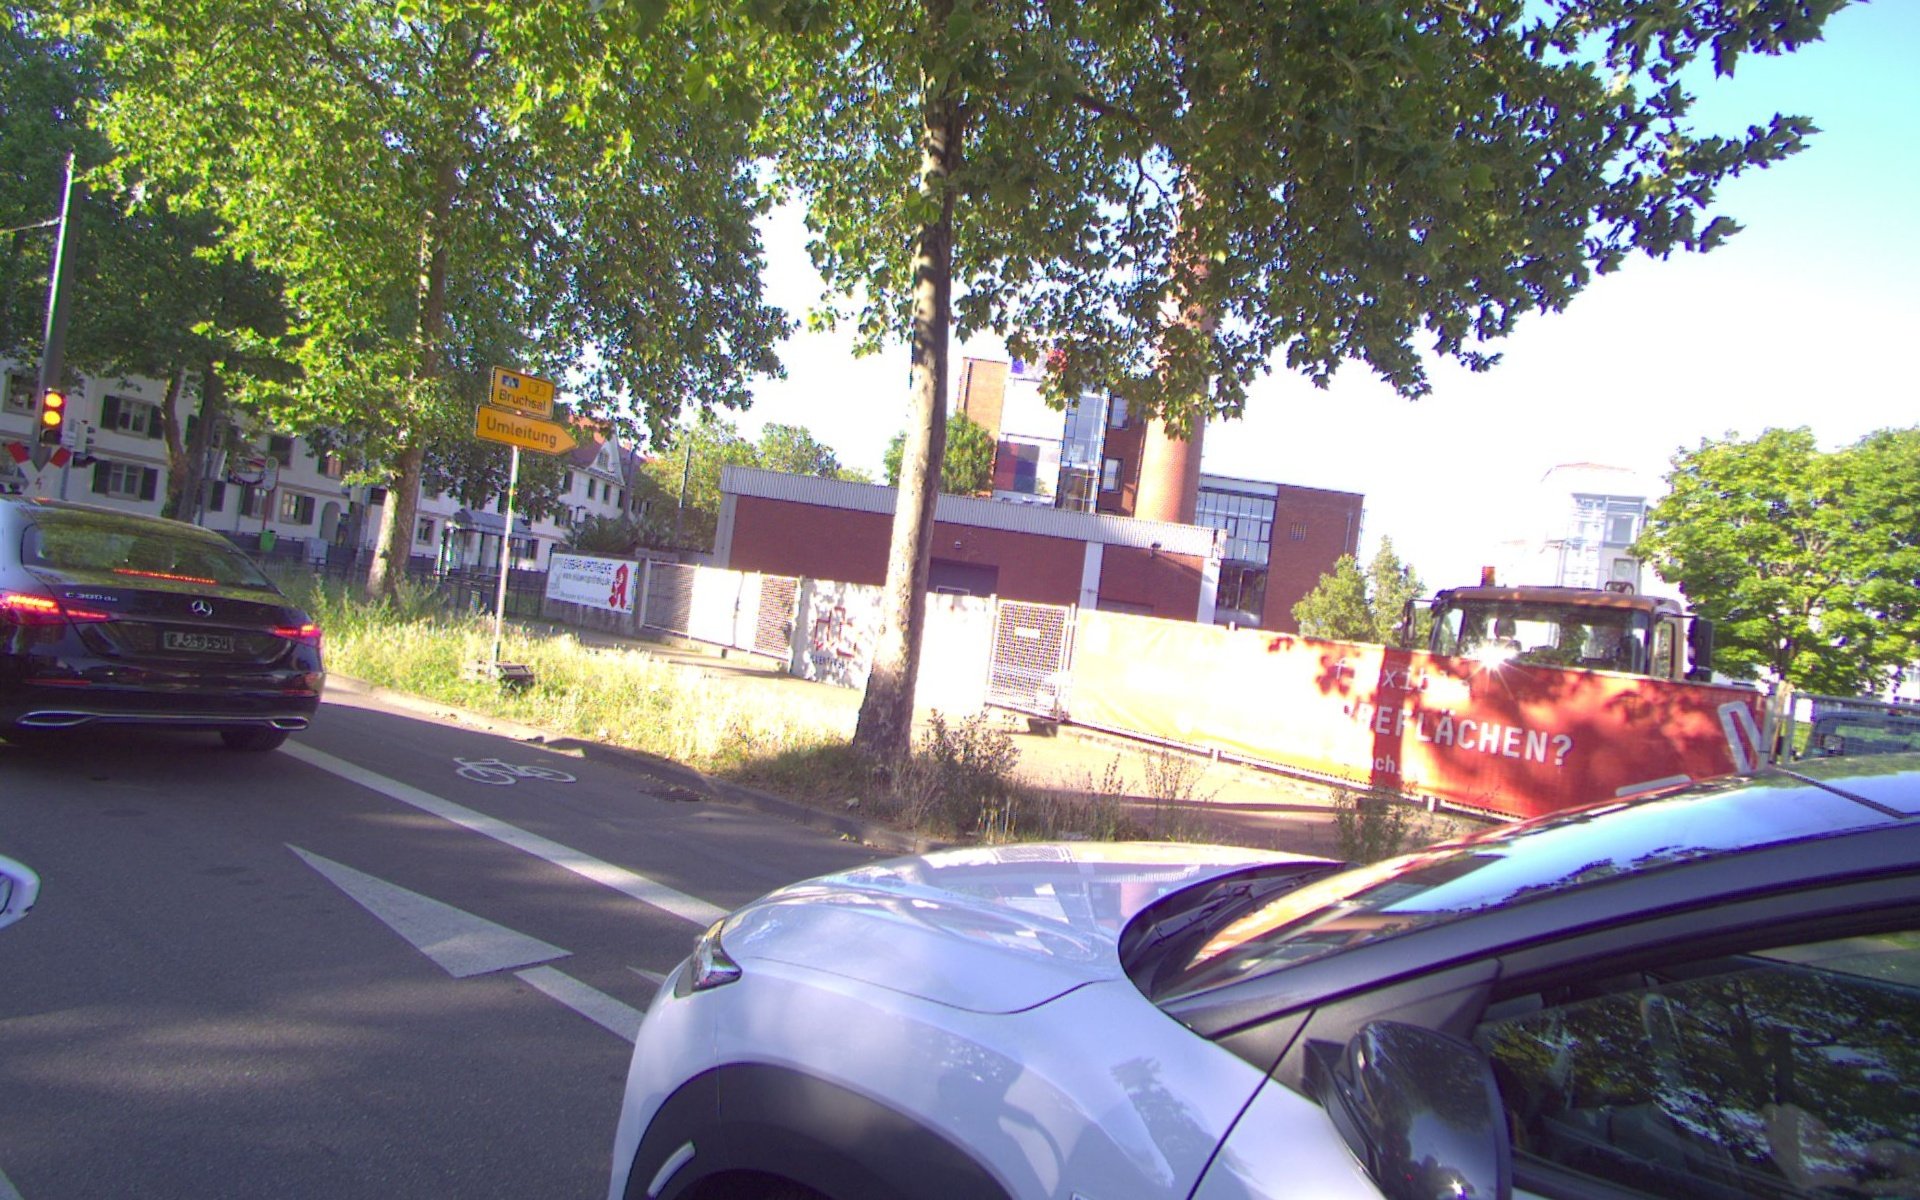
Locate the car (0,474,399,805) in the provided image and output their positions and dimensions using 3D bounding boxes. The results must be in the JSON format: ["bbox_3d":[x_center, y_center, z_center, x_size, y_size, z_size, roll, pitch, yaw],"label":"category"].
[{"bbox_3d":[-5.947,0.028,6.626,4.307,1.508,1.894,9,-1,31],"label":"car"}]

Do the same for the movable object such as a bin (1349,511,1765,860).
[{"bbox_3d":[7.646,1.027,12.412,3.172,3.084,6.266,6,-2,41],"label":"movable object such as a bin"}]

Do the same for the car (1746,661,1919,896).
[{"bbox_3d":[9.575,1.817,10.155,2.016,1.849,4.583,6,-3,44],"label":"car"}]

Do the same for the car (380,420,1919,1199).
[{"bbox_3d":[1.245,0.866,1.334,3.901,1.616,1.893,9,-1,33],"label":"car"}]

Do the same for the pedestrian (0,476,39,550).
[{"bbox_3d":[-26.521,-2.437,28.134,0.825,1.940,0.707,7,-1,28],"label":"pedestrian"}]

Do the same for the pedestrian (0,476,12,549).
[{"bbox_3d":[-26.118,-2.402,26.914,0.825,1.940,0.707,7,-1,28],"label":"pedestrian"}]
